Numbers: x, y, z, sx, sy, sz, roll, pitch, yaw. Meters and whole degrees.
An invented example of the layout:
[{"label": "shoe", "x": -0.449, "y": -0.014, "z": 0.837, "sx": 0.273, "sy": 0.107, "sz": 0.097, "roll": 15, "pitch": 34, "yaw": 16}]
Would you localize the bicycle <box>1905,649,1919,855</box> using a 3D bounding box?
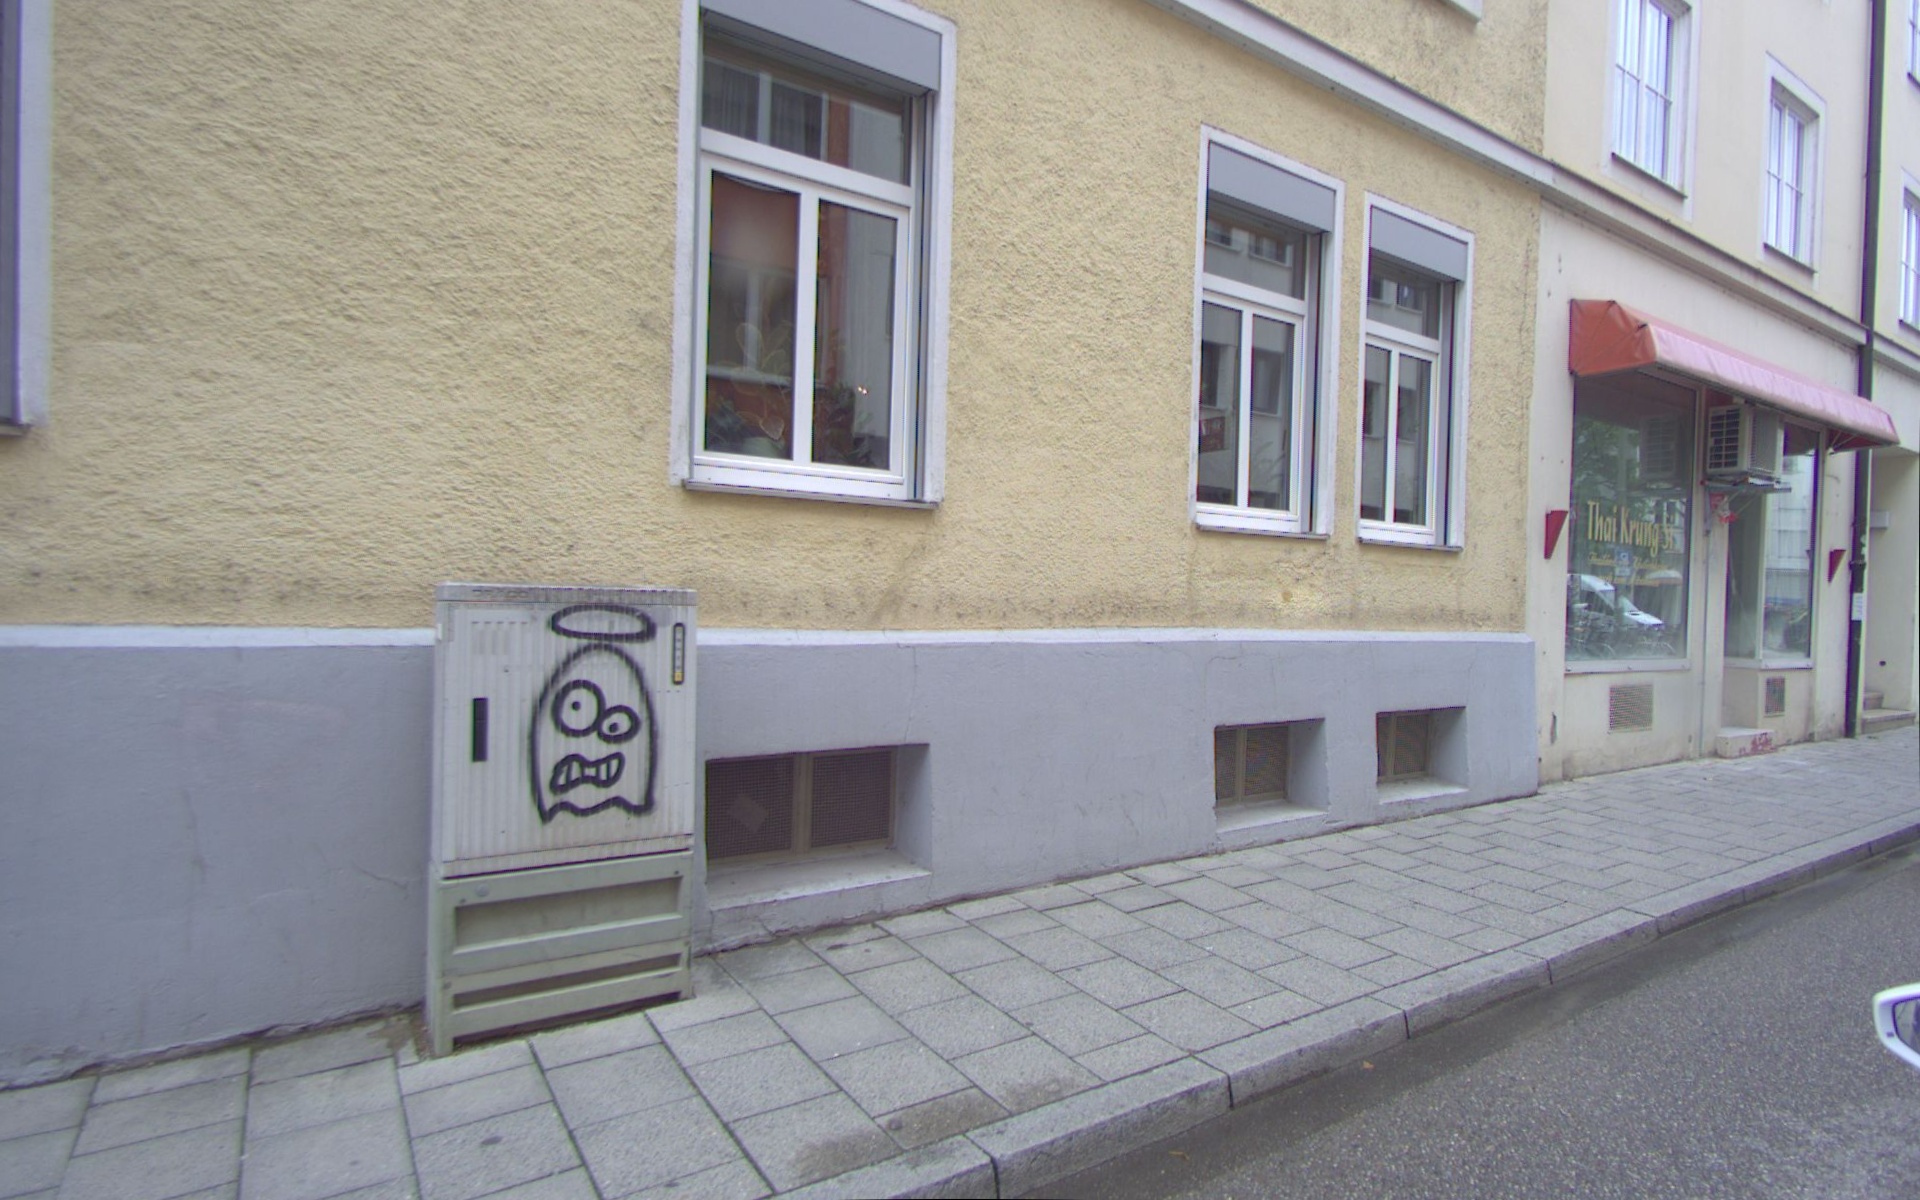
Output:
[{"label": "bicycle", "x": 7.187, "y": 0.980, "z": 6.566, "sx": 2.388, "sy": 1.274, "sz": 0.926, "roll": 2, "pitch": -1, "yaw": -33}]
